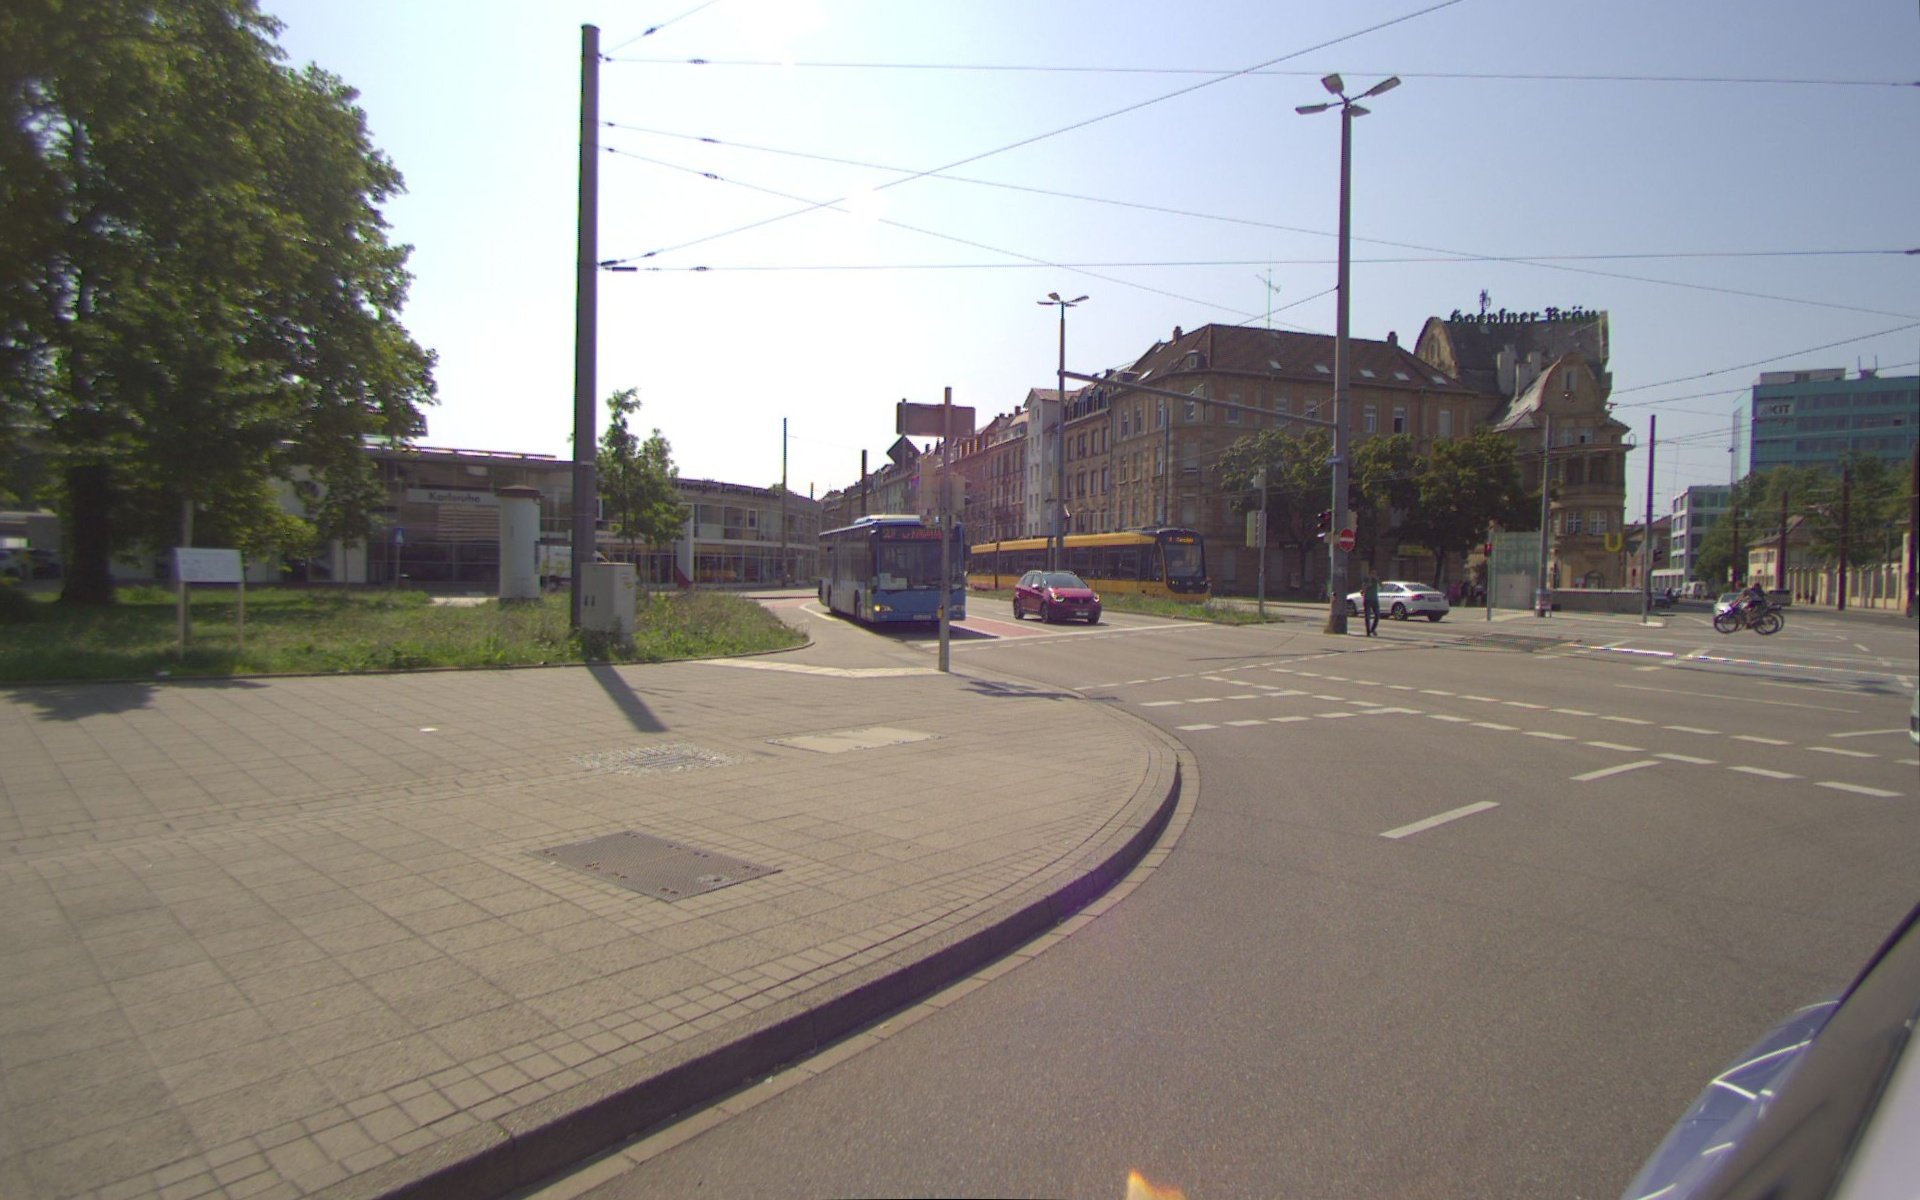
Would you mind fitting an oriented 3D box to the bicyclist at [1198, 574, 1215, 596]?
[{"bbox_3d":[14.415,-0.859,59.208,0.645,1.269,0.645,1,1,-26],"label":"bicyclist"}]

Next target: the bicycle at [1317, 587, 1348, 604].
[{"bbox_3d":[20.817,-0.251,56.589,1.751,0.969,0.463,1,1,-22],"label":"bicycle"}]

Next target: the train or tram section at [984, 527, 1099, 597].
[{"bbox_3d":[4.436,-2.222,59.188,2.541,3.604,12.246,1,2,-16],"label":"train or tram section"}]

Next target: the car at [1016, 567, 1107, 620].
[{"bbox_3d":[3.027,-0.244,30.890,1.596,1.490,3.780,-1,2,-13],"label":"car"}]

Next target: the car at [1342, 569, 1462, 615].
[{"bbox_3d":[16.917,-0.351,39.042,1.734,1.638,4.614,1,2,-14],"label":"car"}]

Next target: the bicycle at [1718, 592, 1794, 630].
[{"bbox_3d":[25.430,0.325,32.353,1.848,1.125,0.702,3,2,42],"label":"bicycle"}]

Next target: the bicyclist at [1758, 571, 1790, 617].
[{"bbox_3d":[27.648,-0.208,34.375,0.646,1.499,0.644,0,2,-35],"label":"bicyclist"}]

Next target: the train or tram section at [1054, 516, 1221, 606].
[{"bbox_3d":[7.821,-1.800,47.240,2.541,3.604,12.246,1,2,-16],"label":"train or tram section"}]

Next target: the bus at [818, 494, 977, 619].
[{"bbox_3d":[-2.392,-1.272,31.569,2.677,3.102,12.110,1,2,-14],"label":"bus"}]

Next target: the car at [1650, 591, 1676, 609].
[{"bbox_3d":[59.909,-0.010,86.258,1.362,1.415,3.224,2,0,27],"label":"car"}]

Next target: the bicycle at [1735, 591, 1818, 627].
[{"bbox_3d":[27.670,0.287,34.350,0.433,1.125,2.129,0,3,-35],"label":"bicycle"}]

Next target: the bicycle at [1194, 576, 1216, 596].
[{"bbox_3d":[14.430,-0.820,59.578,0.432,1.125,1.647,1,2,-19],"label":"bicycle"}]

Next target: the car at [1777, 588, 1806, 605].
[{"bbox_3d":[91.351,-0.404,111.209,1.986,1.705,3.952,2,0,33],"label":"car"}]

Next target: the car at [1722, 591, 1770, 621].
[{"bbox_3d":[36.861,0.254,47.529,1.578,1.304,3.679,3,1,36],"label":"car"}]

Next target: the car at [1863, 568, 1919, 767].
[{"bbox_3d":[9.982,0.584,8.182,4.270,1.614,1.696,1,1,-11],"label":"car"}]

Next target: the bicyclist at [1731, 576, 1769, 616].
[{"bbox_3d":[25.360,-0.132,32.487,0.861,1.249,1.085,2,2,42],"label":"bicyclist"}]

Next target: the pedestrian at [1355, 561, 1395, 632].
[{"bbox_3d":[10.415,-0.100,25.380,0.796,1.708,0.713,4,2,24],"label":"pedestrian"}]

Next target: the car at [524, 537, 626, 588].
[{"bbox_3d":[-21.944,-2.079,57.856,1.841,2.617,5.137,2,0,41],"label":"car"}]

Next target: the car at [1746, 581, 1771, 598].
[{"bbox_3d":[99.918,-1.286,126.705,1.986,1.928,3.952,2,0,33],"label":"car"}]

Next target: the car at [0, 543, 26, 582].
[{"bbox_3d":[-45.307,-1.738,46.017,1.684,1.774,4.259,1,2,2],"label":"car"}]

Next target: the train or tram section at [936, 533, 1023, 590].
[{"bbox_3d":[1.145,-2.666,70.805,2.541,3.604,12.246,1,2,-16],"label":"train or tram section"}]
